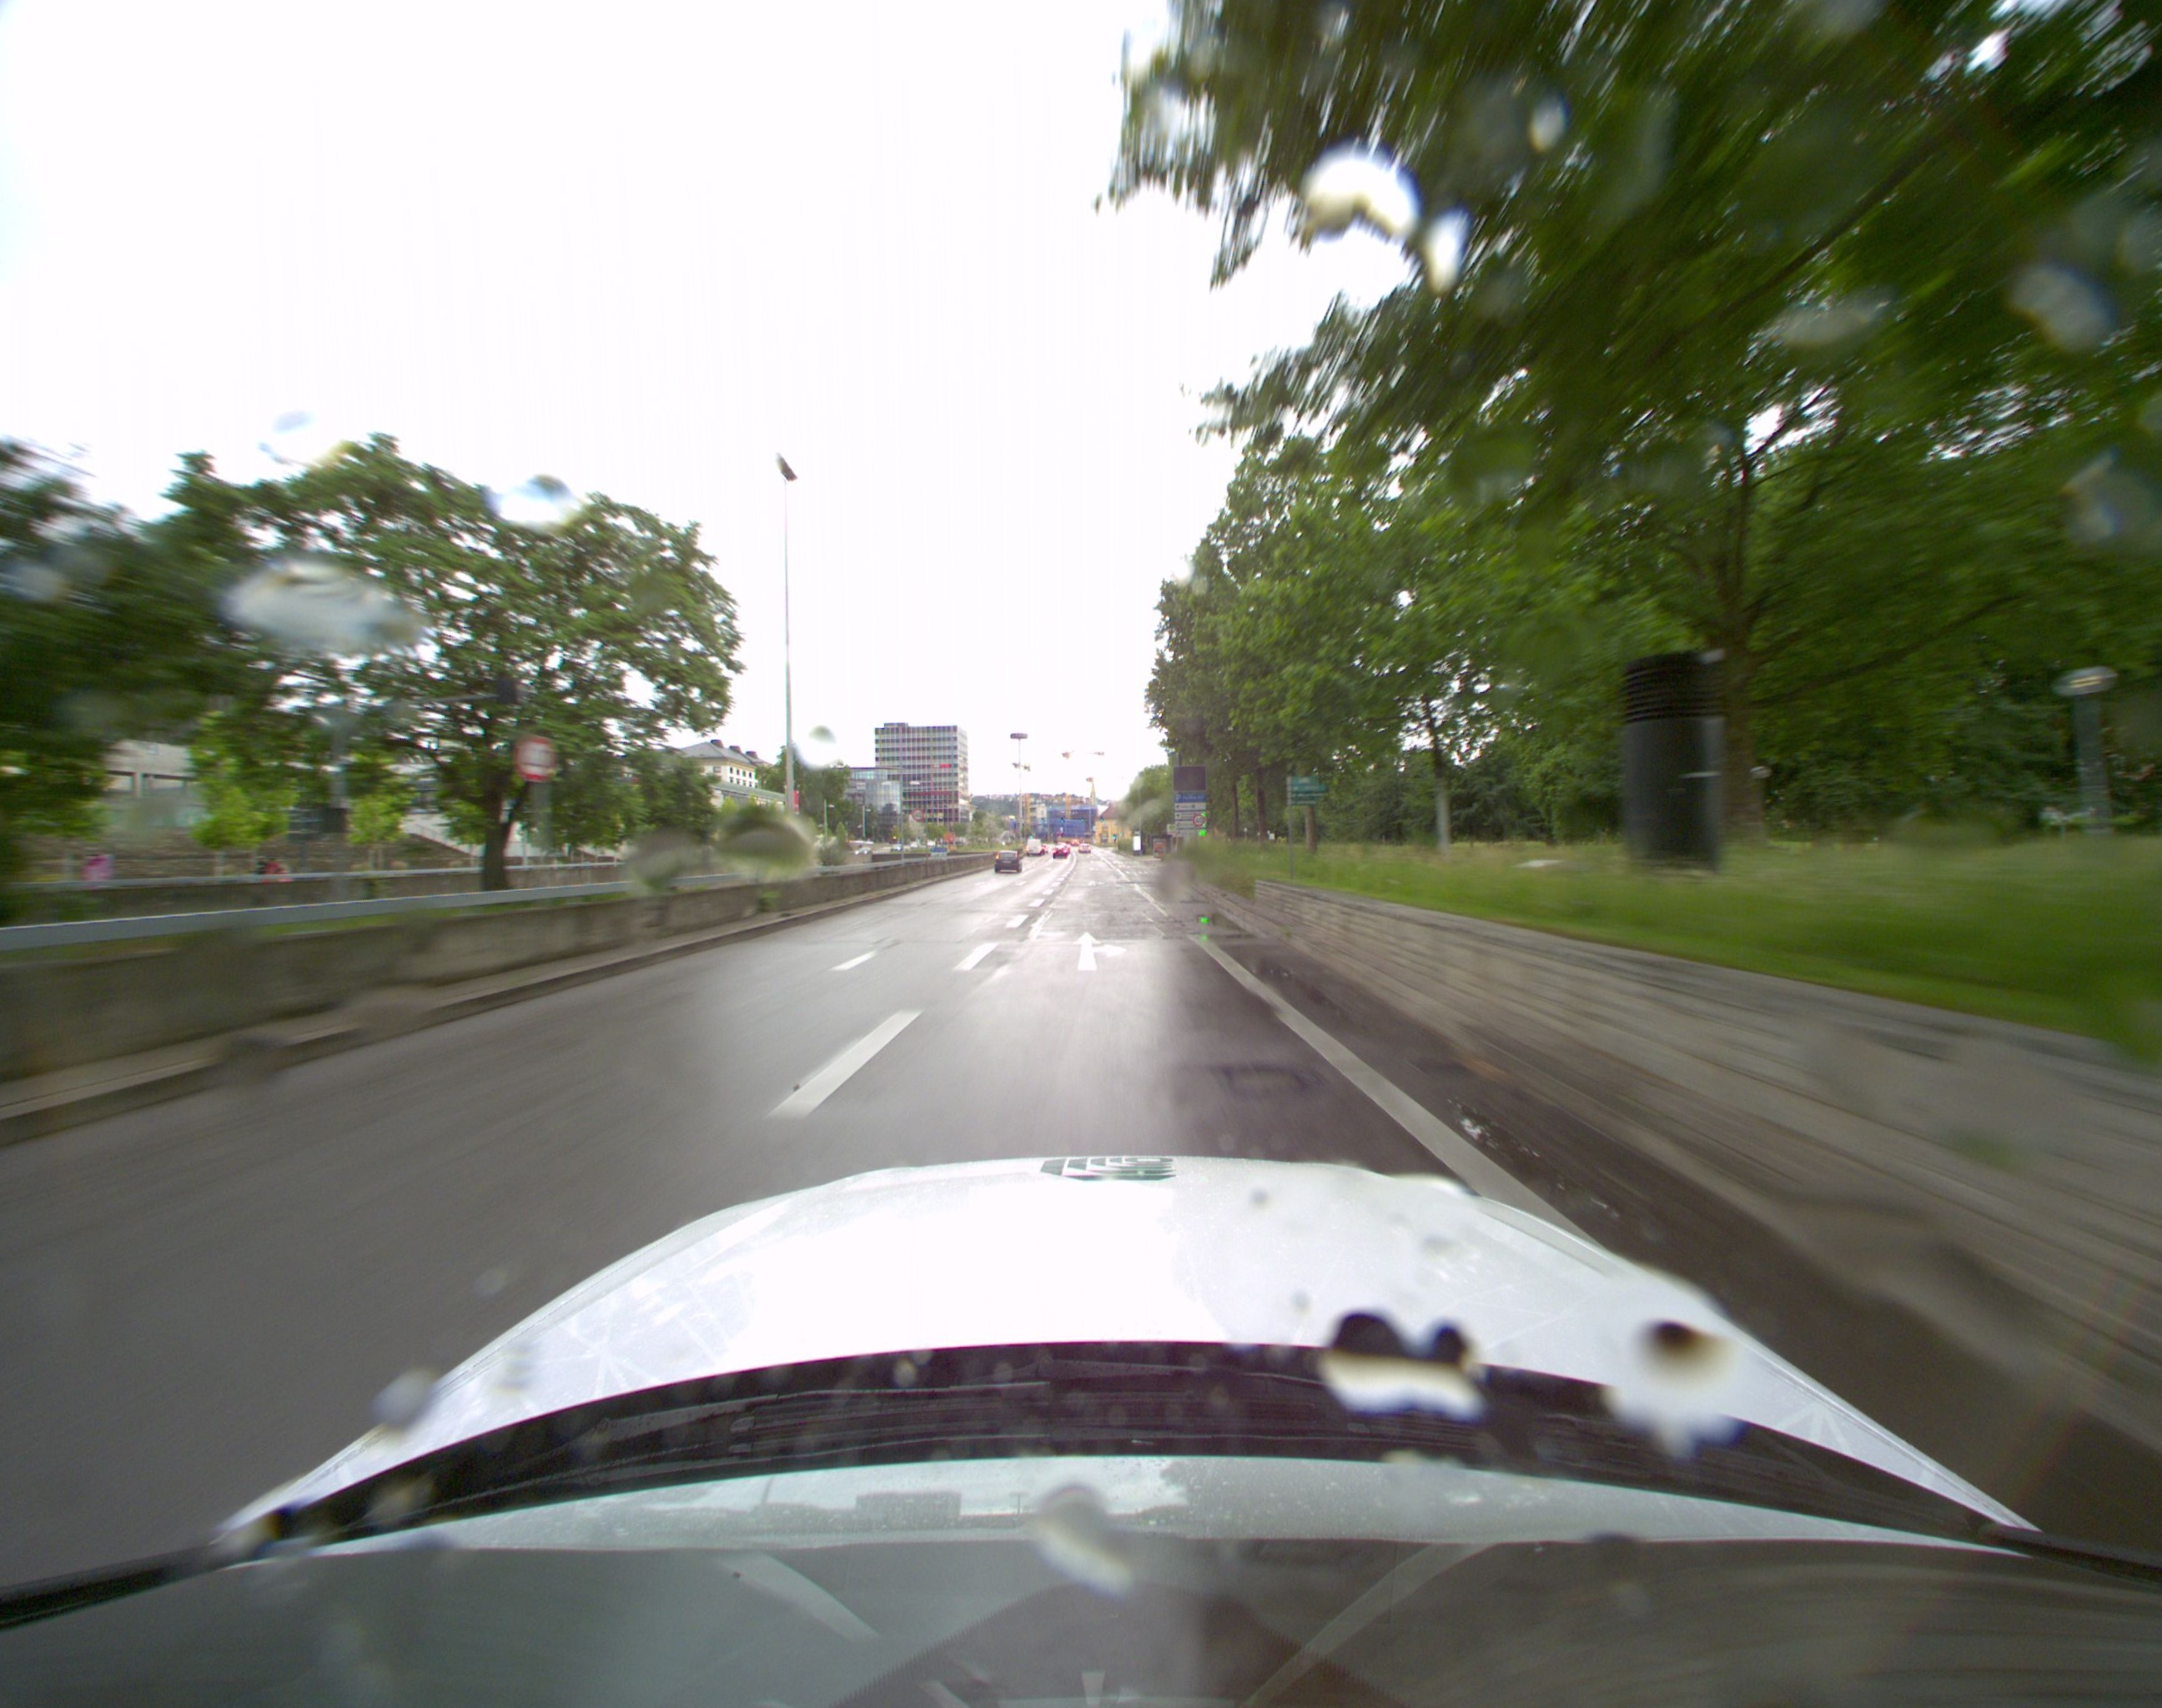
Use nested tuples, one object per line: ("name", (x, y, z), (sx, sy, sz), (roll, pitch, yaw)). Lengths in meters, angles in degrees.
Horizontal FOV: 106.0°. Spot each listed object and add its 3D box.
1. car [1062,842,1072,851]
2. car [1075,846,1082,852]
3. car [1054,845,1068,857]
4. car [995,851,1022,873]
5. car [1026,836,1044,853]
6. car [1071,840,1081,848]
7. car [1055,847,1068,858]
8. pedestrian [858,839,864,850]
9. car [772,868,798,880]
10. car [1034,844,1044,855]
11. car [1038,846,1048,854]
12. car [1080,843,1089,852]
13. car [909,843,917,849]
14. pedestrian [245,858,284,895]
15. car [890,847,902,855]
("car", (-2.259, -1.211, 130.209), (1.489, 1.369, 3.032), (0, 0, -1))
("car", (-0.447, -0.833, 137.832), (1.072, 0.990, 1.972), (0, -1, 2))
("car", (-2.536, -0.405, 103.274), (1.749, 1.471, 4.220), (0, 2, -2))
("car", (-4.838, 0.525, 55.024), (1.538, 1.415, 3.899), (0, 0, -1))
("car", (-6.367, -1.322, 113.779), (2.285, 2.314, 5.004), (0, 0, 0))
("car", (-1.257, -2.419, 199.186), (2.153, 1.879, 3.772), (0, 0, 2))
("car", (-2.850, -0.226, 118.621), (1.876, 1.652, 3.453), (0, 0, -4))
("pedestrian", (-40.830, -1.749, 151.300), (0.717, 2.090, 0.774), (4, 6, 31))
("car", (-29.512, 1.998, 81.321), (1.483, 1.129, 3.049), (0, 0, -1))
("car", (-6.135, -0.664, 120.398), (1.461, 1.706, 3.138), (0, 0, -3))
("car", (-6.033, -0.672, 129.940), (1.546, 1.260, 2.579), (0, 0, -1))
("car", (0.540, -1.012, 131.569), (1.439, 1.359, 2.413), (0, 0, 2))
("car", (-38.422, -1.801, 186.645), (1.405, 1.255, 3.162), (0, 0, -3))
("pedestrian", (-41.921, 1.164, 41.811), (1.084, 1.866, 0.827), (0, -1, -8))
("car", (-34.423, -0.614, 151.424), (1.460, 1.440, 2.962), (0, 0, -1))
